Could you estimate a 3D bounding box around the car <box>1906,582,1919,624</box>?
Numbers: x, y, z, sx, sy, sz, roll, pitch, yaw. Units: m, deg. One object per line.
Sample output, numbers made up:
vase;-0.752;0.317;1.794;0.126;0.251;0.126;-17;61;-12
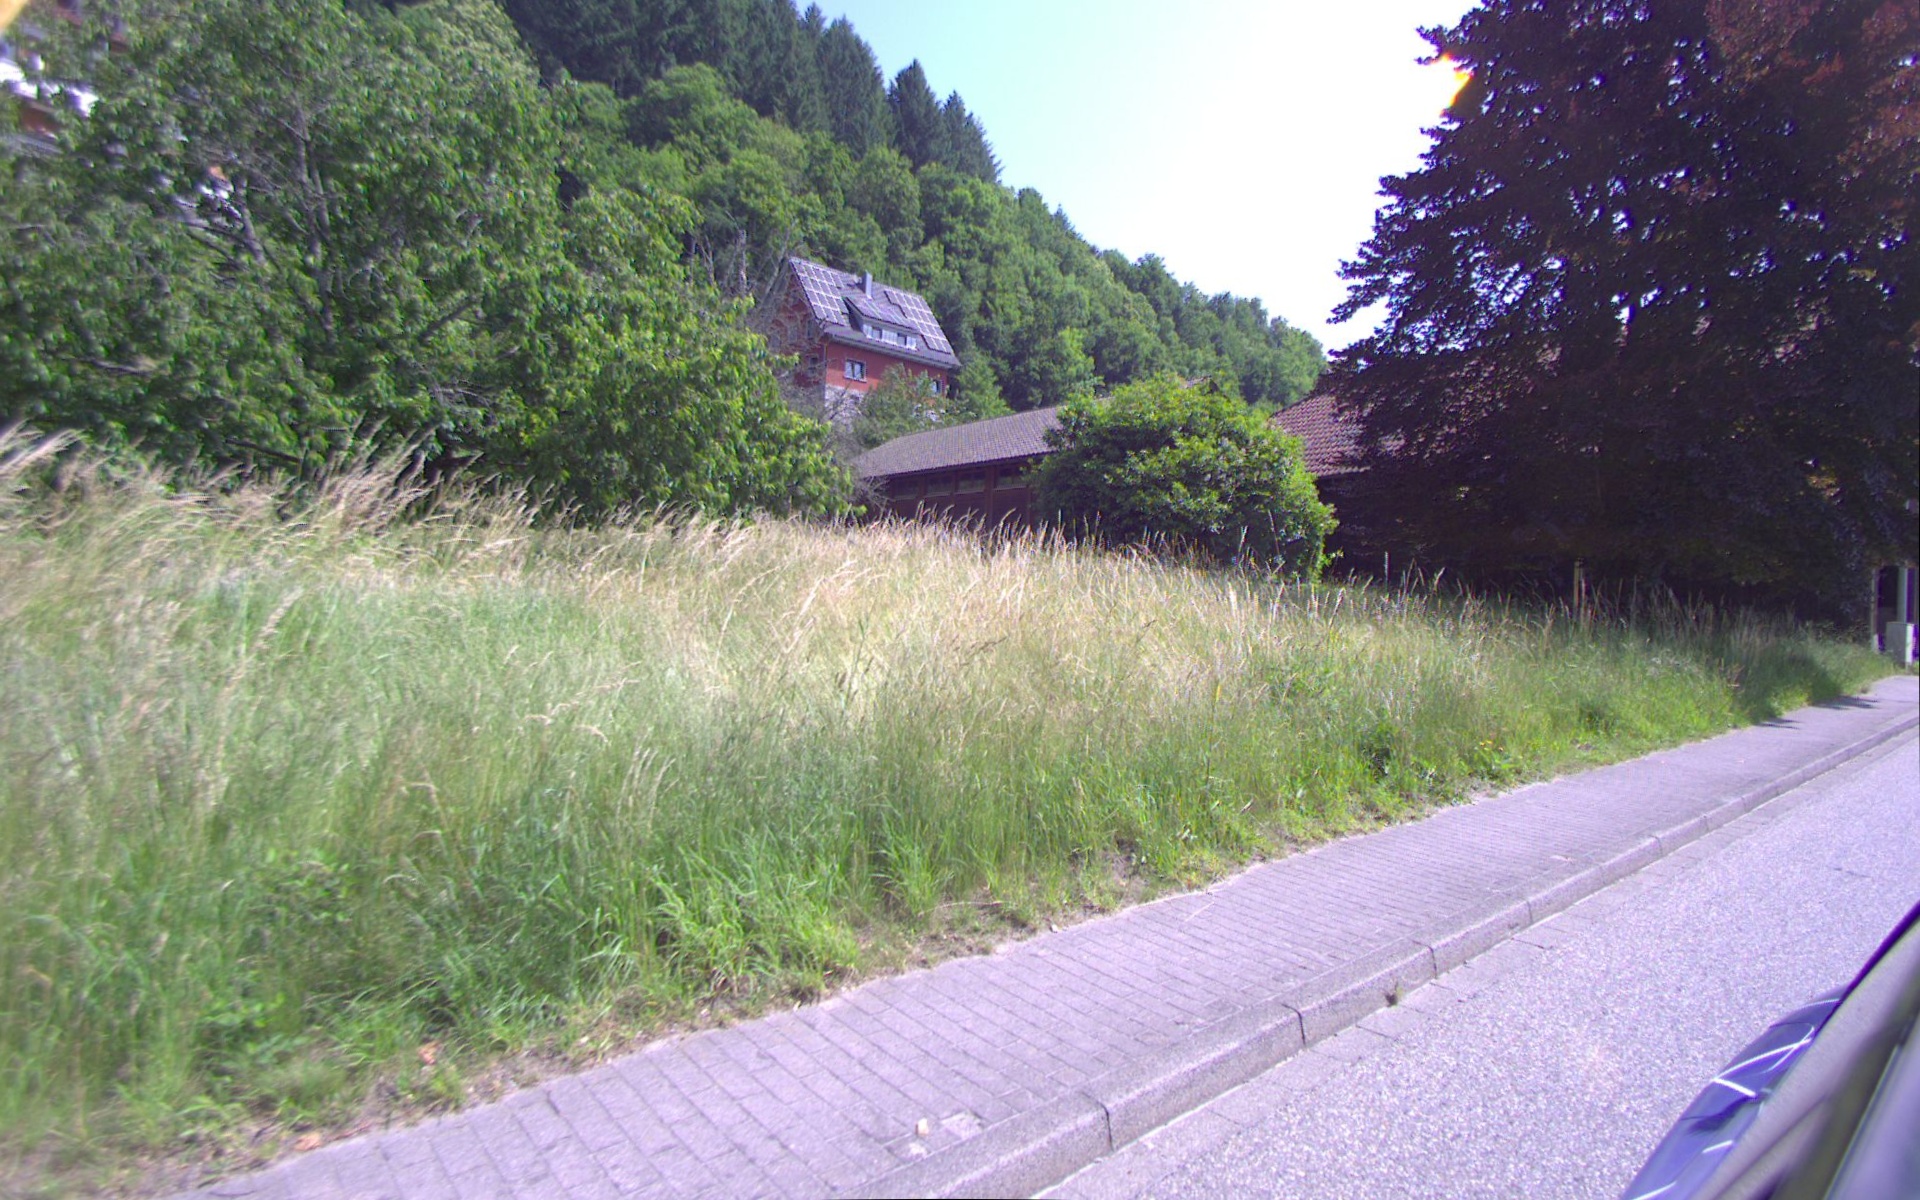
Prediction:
car;41.437;0.354;40.918;1.742;1.706;4.242;1;6;-32
